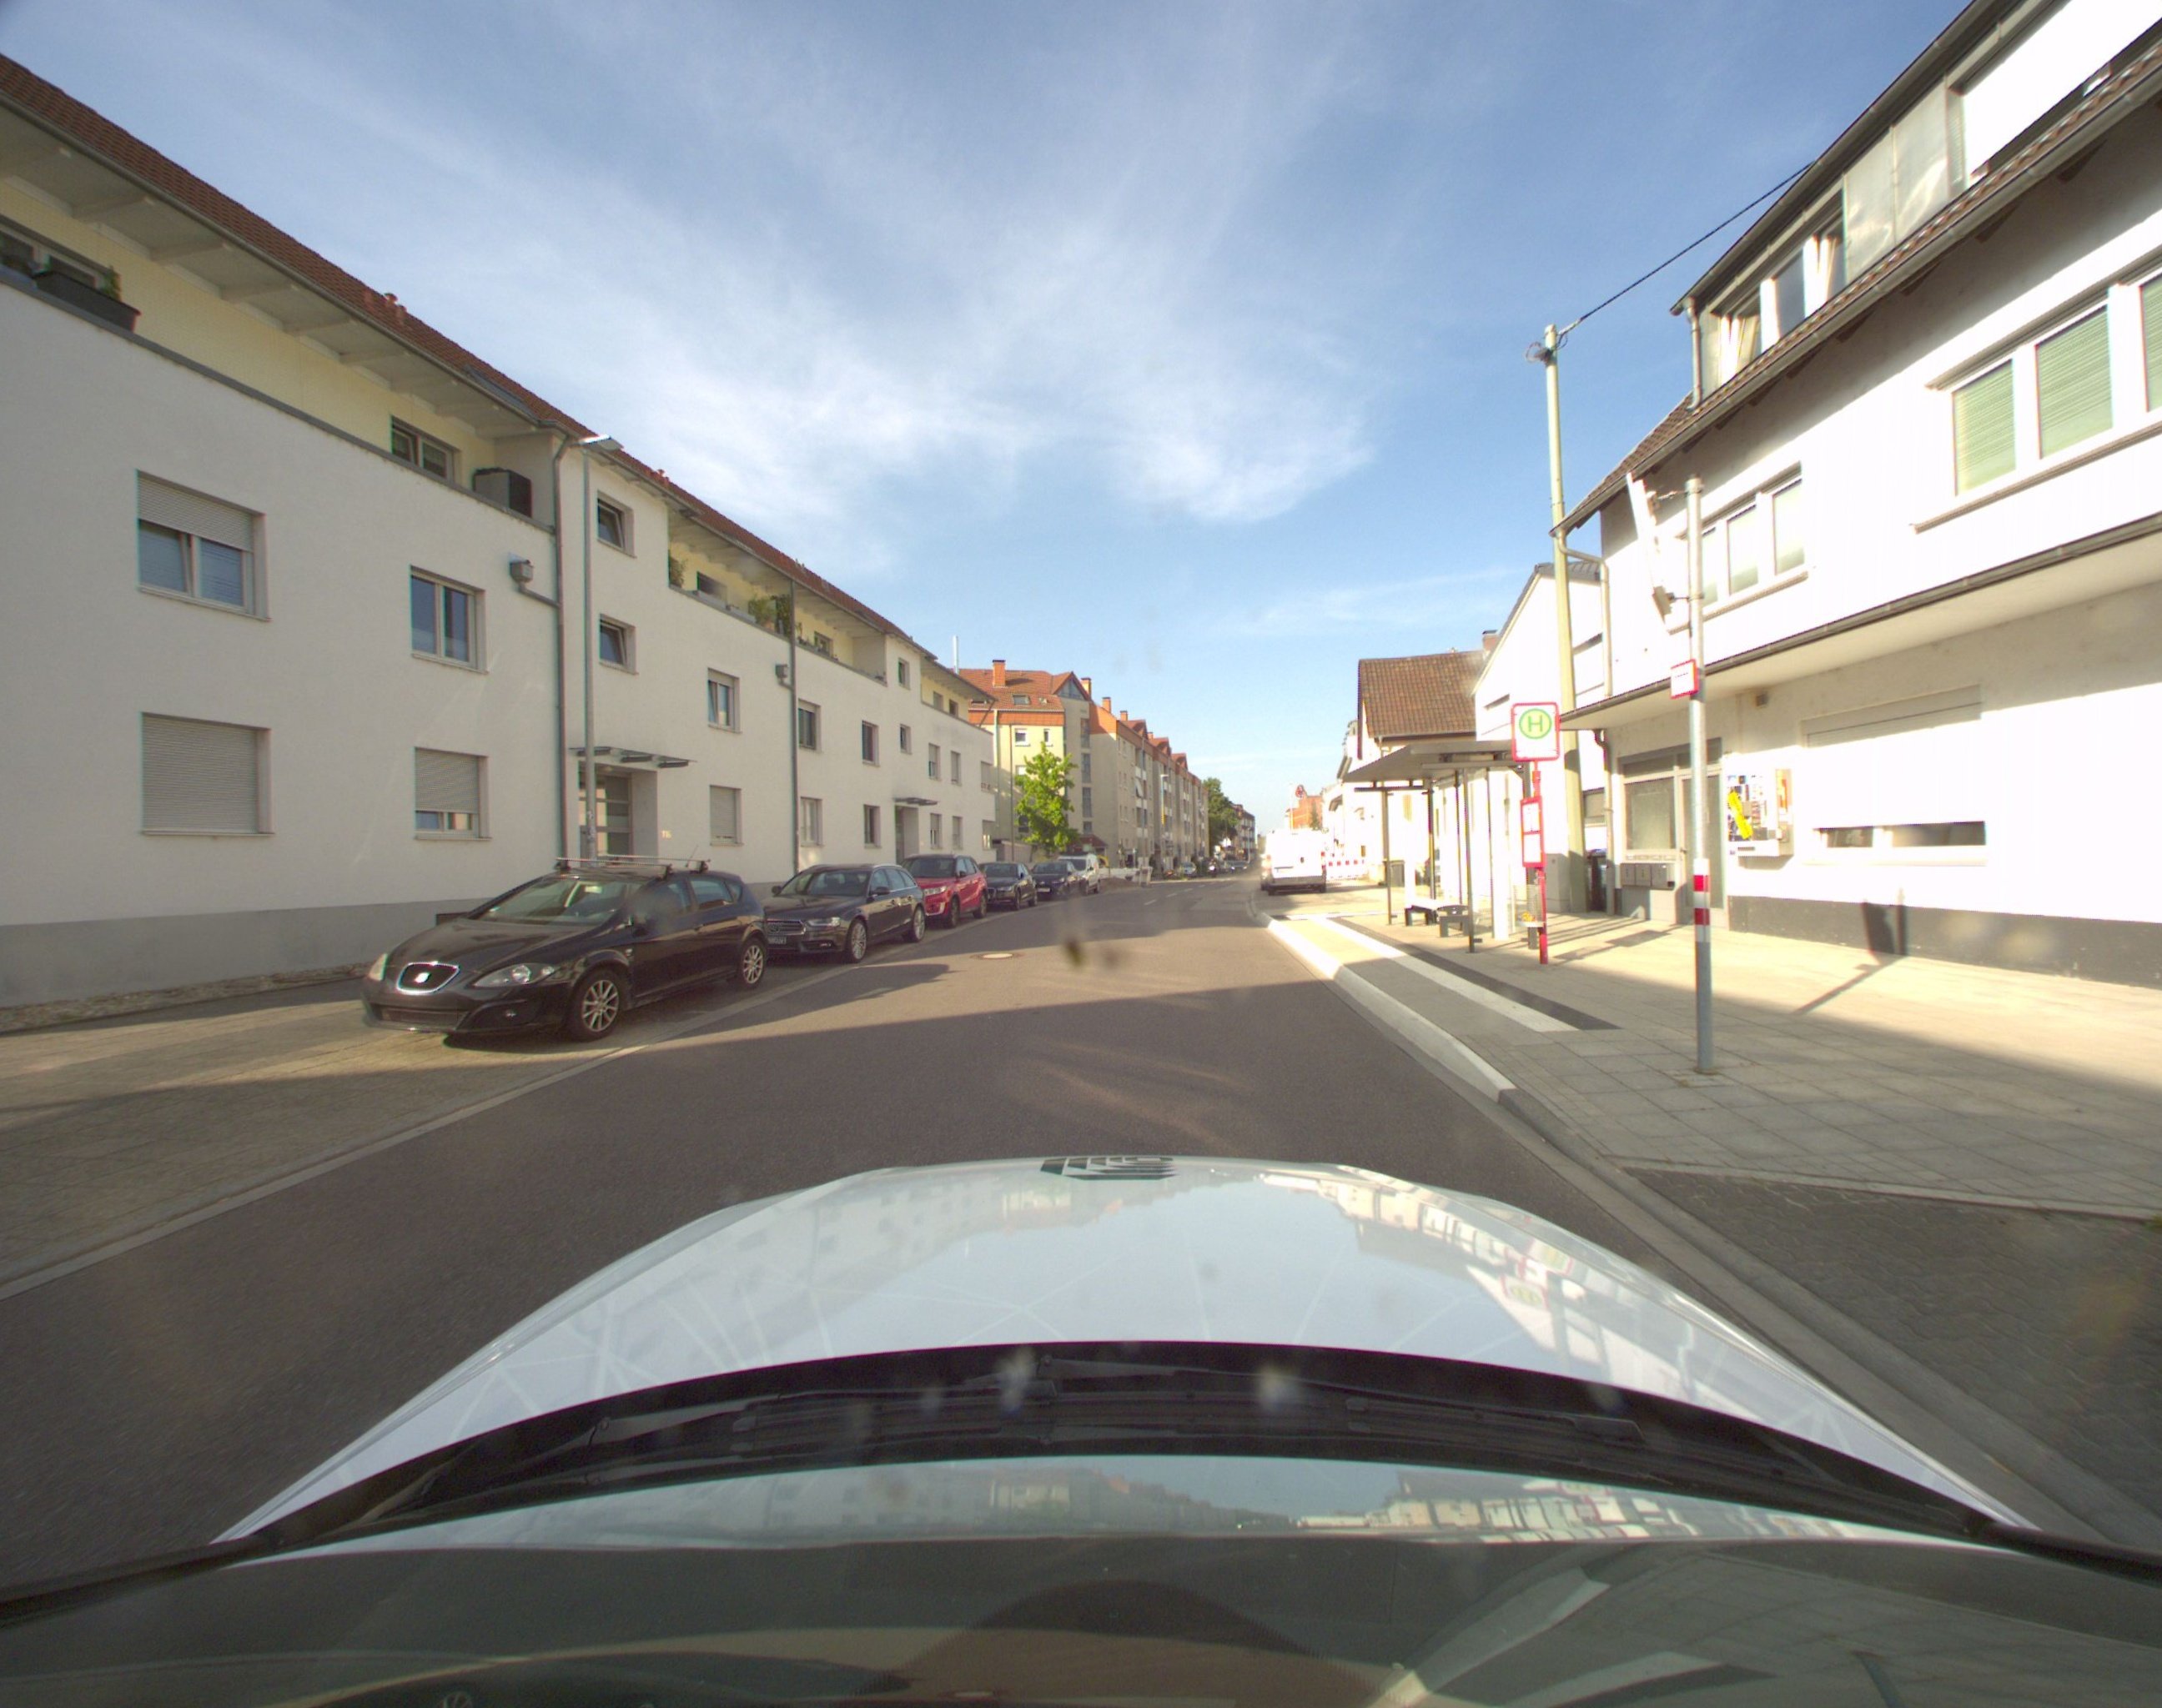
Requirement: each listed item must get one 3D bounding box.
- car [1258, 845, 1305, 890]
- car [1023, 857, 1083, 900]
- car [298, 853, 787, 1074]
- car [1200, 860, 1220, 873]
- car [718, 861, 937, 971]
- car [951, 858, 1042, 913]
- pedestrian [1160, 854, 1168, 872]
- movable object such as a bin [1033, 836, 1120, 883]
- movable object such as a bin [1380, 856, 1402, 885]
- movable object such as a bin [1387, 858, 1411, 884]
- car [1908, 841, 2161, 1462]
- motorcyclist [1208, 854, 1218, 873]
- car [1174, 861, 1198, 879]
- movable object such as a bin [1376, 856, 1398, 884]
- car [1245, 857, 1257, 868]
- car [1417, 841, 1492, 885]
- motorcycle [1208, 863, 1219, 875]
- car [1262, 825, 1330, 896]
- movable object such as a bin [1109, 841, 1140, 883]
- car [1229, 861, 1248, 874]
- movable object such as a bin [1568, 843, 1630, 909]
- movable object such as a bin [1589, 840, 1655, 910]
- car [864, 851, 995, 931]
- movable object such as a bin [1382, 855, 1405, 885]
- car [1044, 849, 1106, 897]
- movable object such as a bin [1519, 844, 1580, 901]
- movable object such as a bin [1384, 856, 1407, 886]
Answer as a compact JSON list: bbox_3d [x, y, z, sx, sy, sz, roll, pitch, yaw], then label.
[{"bbox_3d":[8.639,0.543,35.350,1.766,1.741,4.498,-3,-1,12],"label":"car"},{"bbox_3d":[-0.999,0.875,30.429,1.483,1.465,3.524,1,0,10],"label":"car"},{"bbox_3d":[-4.841,0.812,8.223,1.766,1.622,4.187,1,0,7],"label":"car"},{"bbox_3d":[14.072,1.343,88.701,1.674,1.406,4.099,-1,-1,14],"label":"car"},{"bbox_3d":[-3.919,0.873,13.522,1.718,1.478,4.512,0,0,7],"label":"car"},{"bbox_3d":[-2.426,0.867,24.427,1.718,1.478,4.272,-1,0,7],"label":"car"},{"bbox_3d":[8.377,0.882,82.077,0.713,1.818,0.748,-1,0,15],"label":"pedestrian"},{"bbox_3d":[-0.286,0.355,52.473,5.479,2.900,2.111,-1,0,0],"label":"movable object such as a bin"},{"bbox_3d":[12.228,0.644,32.169,0.723,1.093,0.555,-2,-1,12],"label":"movable object such as a bin"},{"bbox_3d":[11.815,0.623,30.261,0.723,0.959,0.555,-2,-1,12],"label":"movable object such as a bin"},{"bbox_3d":[3.182,0.663,0.439,1.600,1.421,3.924,-3,0,4],"label":"car"},{"bbox_3d":[11.337,0.830,69.846,0.763,1.652,0.846,-1,0,12],"label":"motorcyclist"},{"bbox_3d":[9.213,1.396,71.096,1.629,1.395,3.685,-3,-1,13],"label":"car"},{"bbox_3d":[12.349,0.655,32.828,0.723,1.093,0.627,-2,-1,12],"label":"movable object such as a bin"},{"bbox_3d":[25.318,1.248,120.970,1.606,1.455,3.699,-1,0,14],"label":"car"},{"bbox_3d":[13.706,0.302,29.788,1.640,1.407,4.005,-4,-1,36],"label":"car"},{"bbox_3d":[11.338,1.267,69.812,0.763,0.985,2.206,-1,0,12],"label":"motorcycle"},{"bbox_3d":[7.950,0.225,30.553,2.160,2.327,5.014,-3,-1,12],"label":"car"},{"bbox_3d":[3.330,0.573,61.848,1.636,3.138,3.914,0,0,13],"label":"movable object such as a bin"},{"bbox_3d":[18.022,1.496,93.168,1.817,1.420,4.224,-2,-1,14],"label":"car"},{"bbox_3d":[8.958,0.375,14.101,0.692,1.093,0.560,-3,-1,6],"label":"movable object such as a bin"},{"bbox_3d":[8.869,0.344,13.363,0.692,1.093,0.560,-3,-1,8],"label":"movable object such as a bin"},{"bbox_3d":[-3.378,0.764,19.051,1.718,1.622,4.272,-2,0,7],"label":"car"},{"bbox_3d":[12.107,0.629,31.584,0.723,1.132,0.555,-2,-1,12],"label":"movable object such as a bin"},{"bbox_3d":[-0.183,0.787,35.525,1.716,1.960,4.453,-1,0,12],"label":"car"},{"bbox_3d":[9.503,0.372,16.533,0.807,1.093,0.769,-3,-1,8],"label":"movable object such as a bin"},{"bbox_3d":[11.970,0.637,30.981,0.723,1.093,0.555,-2,-1,12],"label":"movable object such as a bin"}]
